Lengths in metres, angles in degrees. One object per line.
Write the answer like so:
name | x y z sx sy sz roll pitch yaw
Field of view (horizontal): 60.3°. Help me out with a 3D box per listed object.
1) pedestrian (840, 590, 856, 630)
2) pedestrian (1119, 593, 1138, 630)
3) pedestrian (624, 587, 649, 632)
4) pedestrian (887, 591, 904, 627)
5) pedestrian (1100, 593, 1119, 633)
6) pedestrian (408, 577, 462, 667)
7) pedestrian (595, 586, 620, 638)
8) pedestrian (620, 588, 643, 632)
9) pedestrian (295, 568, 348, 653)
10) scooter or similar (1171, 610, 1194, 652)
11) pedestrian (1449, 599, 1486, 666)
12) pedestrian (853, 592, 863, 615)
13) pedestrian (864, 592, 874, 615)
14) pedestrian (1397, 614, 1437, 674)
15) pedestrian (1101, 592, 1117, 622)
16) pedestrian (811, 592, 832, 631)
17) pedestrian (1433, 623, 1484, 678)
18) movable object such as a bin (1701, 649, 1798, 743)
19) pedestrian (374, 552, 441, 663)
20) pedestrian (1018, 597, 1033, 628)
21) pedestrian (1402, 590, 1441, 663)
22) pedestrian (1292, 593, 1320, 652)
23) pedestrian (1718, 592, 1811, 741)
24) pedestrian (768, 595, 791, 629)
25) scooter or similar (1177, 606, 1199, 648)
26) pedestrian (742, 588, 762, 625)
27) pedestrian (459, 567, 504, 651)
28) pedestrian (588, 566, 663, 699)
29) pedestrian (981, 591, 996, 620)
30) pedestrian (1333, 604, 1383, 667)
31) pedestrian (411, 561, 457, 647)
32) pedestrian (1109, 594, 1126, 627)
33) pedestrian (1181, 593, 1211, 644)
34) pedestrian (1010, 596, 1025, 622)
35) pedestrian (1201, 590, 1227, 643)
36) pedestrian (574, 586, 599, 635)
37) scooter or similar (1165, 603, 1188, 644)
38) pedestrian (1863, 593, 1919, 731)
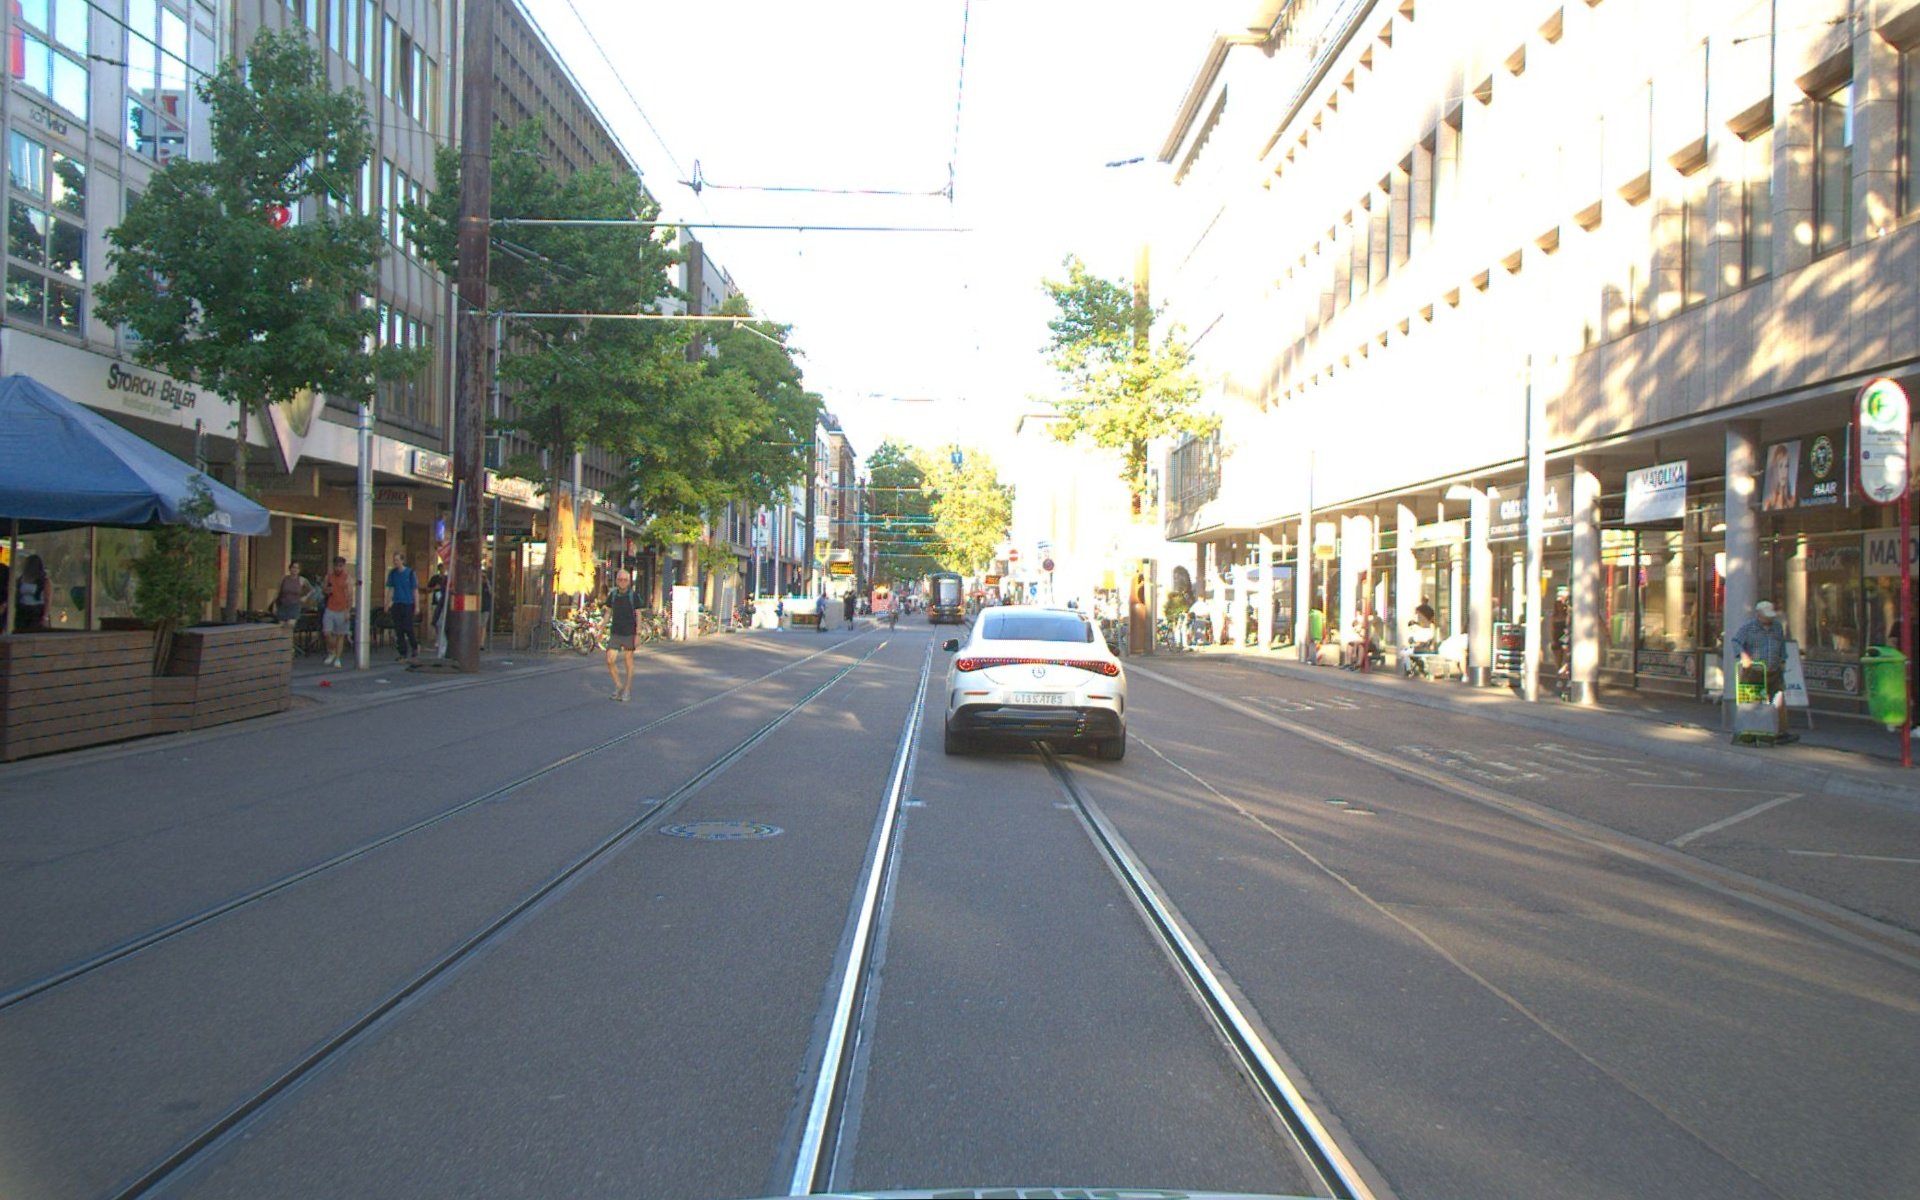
pedestrian | -5.516 0.489 81.484 0.531 1.963 0.569 0 0 43
pedestrian | 8.395 0.560 82.577 0.823 1.817 0.803 -1 0 -1
pedestrian | -12.978 0.391 66.415 0.717 1.792 0.808 1 0 -35
pedestrian | -3.292 0.461 84.263 0.784 1.813 0.848 2 0 -2
pedestrian | 6.779 0.576 74.927 0.733 1.817 0.766 -1 0 -1
pedestrian | -9.256 0.383 29.171 0.609 1.535 0.833 3 0 0
pedestrian | -11.421 0.381 53.547 0.700 1.668 0.684 1 0 -7
pedestrian | -13.711 0.406 69.012 0.799 1.792 0.779 1 0 -3
pedestrian | -12.064 0.201 31.261 0.609 1.552 0.809 3 0 0
scooter or similar | 7.084 0.983 52.741 0.518 1.299 0.658 -1 0 -12
pedestrian | 12.032 0.760 39.229 0.629 1.568 0.796 1 0 0
pedestrian | -7.238 0.245 117.259 0.646 1.627 0.573 1 0 -2
pedestrian | -6.456 0.262 117.350 0.646 1.627 0.573 1 0 -2
pedestrian | 9.583 0.922 34.725 0.652 1.219 0.785 1 0 4
pedestrian | 8.521 0.411 94.611 0.801 1.715 0.803 -1 0 -1
pedestrian | -6.302 0.529 75.239 0.886 1.728 0.849 1 0 0
pedestrian | 9.999 1.008 33.201 0.818 1.049 0.696 1 0 4
movable object such as a bin | 8.562 1.033 17.961 0.676 0.940 0.718 2 0 0
pedestrian | -10.061 0.131 30.152 0.785 1.957 1.070 3 0 -4
pedestrian | 3.634 0.688 91.840 0.731 1.728 0.840 1 0 -3
pedestrian | 11.337 0.642 40.619 0.701 1.771 0.835 1 0 0
pedestrian | 9.993 0.635 47.735 0.624 1.682 0.781 1 0 0
pedestrian | 8.942 0.730 18.395 0.667 1.600 0.632 2 0 0
pedestrian | -8.181 0.539 75.043 0.936 1.522 0.944 1 0 0
scooter or similar | 7.186 0.856 52.088 0.482 1.299 0.658 -1 0 -12
pedestrian | -9.911 0.291 78.830 0.821 1.747 0.785 1 0 -2
pedestrian | -10.450 0.192 36.118 0.609 1.778 0.933 3 0 0
pedestrian | -4.765 0.455 23.580 0.824 1.832 0.790 2 0 0
pedestrian | 1.826 0.349 106.279 0.941 1.817 0.803 -1 0 -1
pedestrian | 9.158 0.810 38.066 0.822 1.401 0.772 1 0 -23
pedestrian | -11.497 0.087 36.177 0.609 1.835 0.933 3 0 0
pedestrian | 8.125 0.519 85.465 0.820 1.691 0.785 1 0 1
pedestrian | 8.470 0.658 59.370 0.881 1.775 0.689 -3 0 -1
pedestrian | 3.963 0.618 114.541 0.941 1.817 0.803 -1 0 -1
pedestrian | 9.069 0.589 59.086 0.687 1.844 1.033 -3 0 -1
pedestrian | -12.101 0.325 53.535 0.700 1.574 0.684 1 0 -7
scooter or similar | 6.981 0.742 53.305 0.518 1.299 0.658 -1 0 -12
pedestrian | 11.481 0.735 19.933 0.681 1.617 0.925 1 0 0
